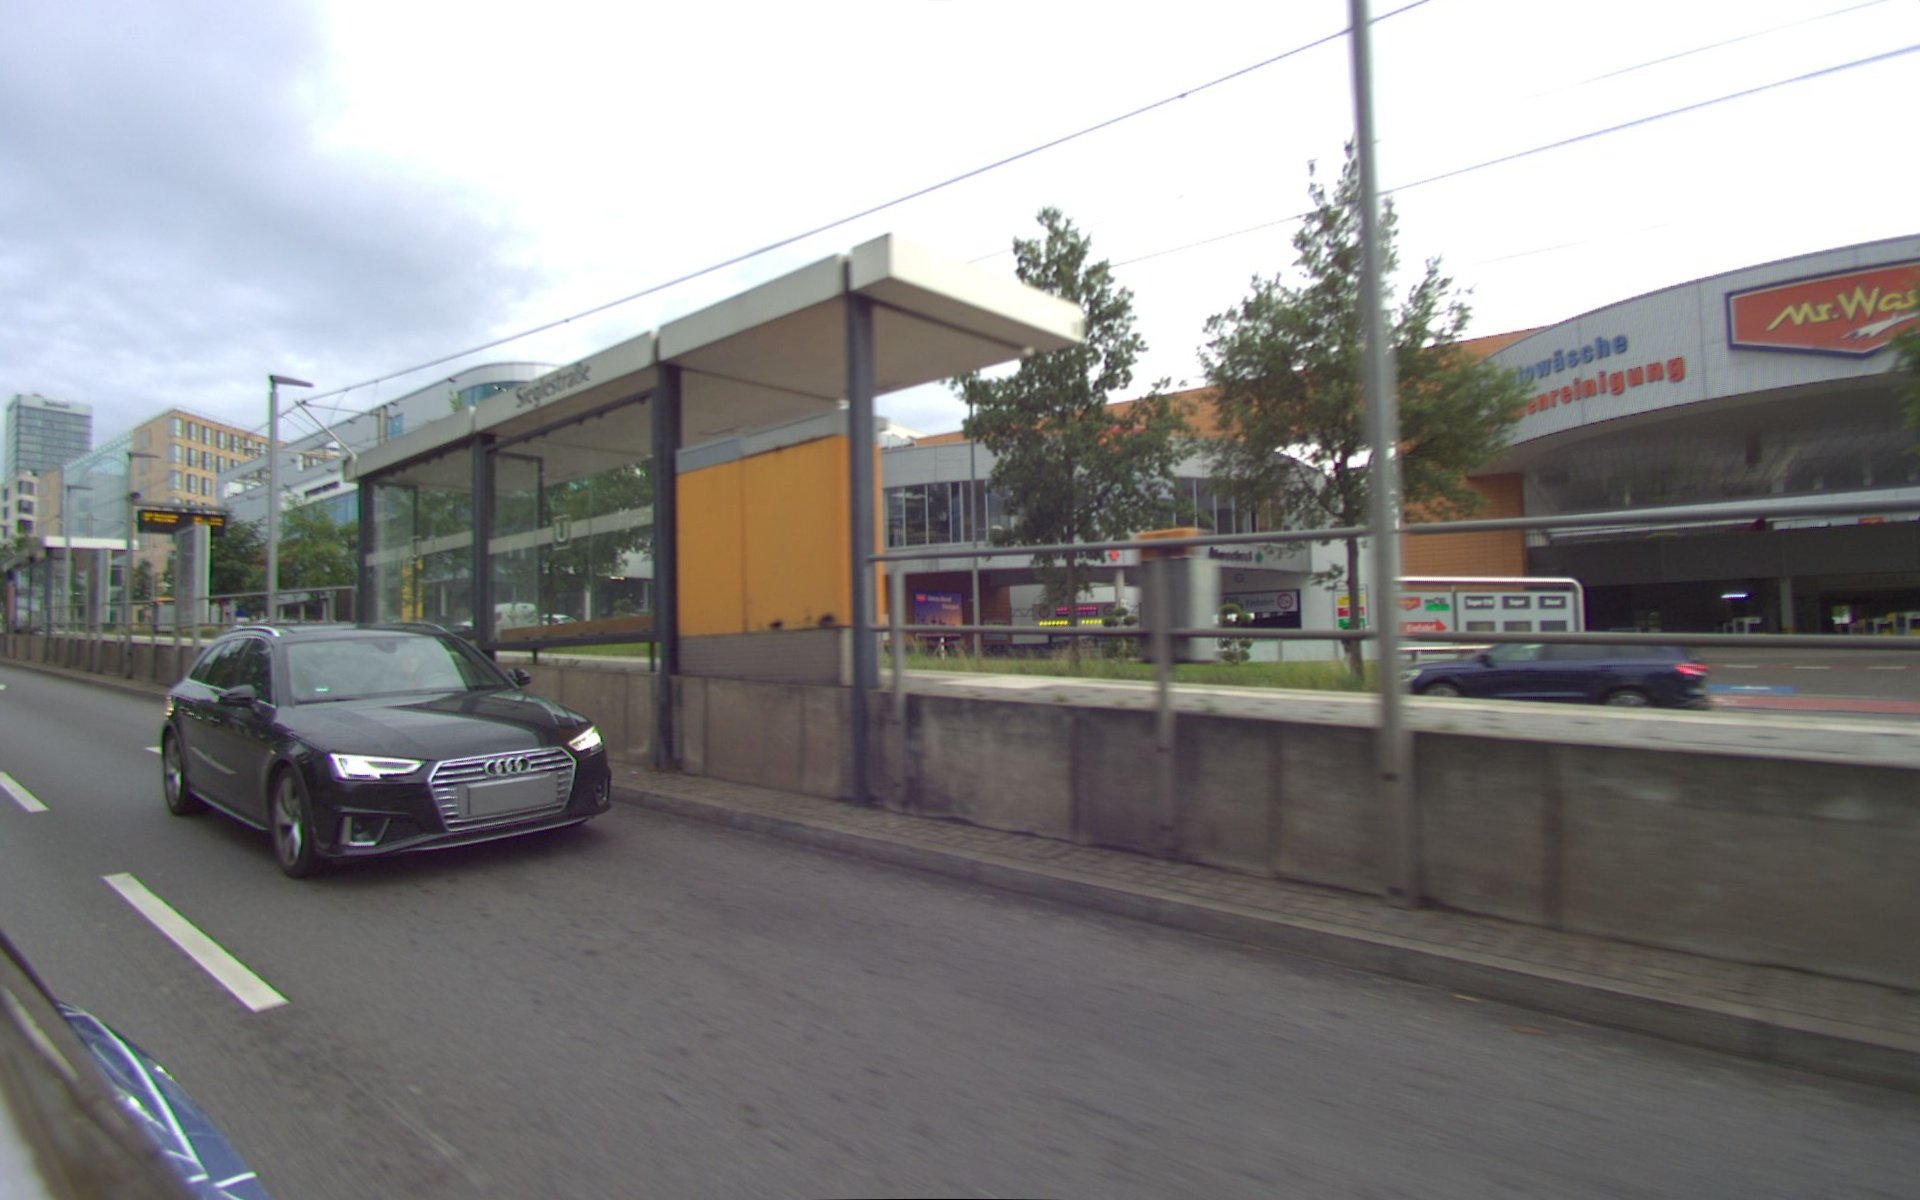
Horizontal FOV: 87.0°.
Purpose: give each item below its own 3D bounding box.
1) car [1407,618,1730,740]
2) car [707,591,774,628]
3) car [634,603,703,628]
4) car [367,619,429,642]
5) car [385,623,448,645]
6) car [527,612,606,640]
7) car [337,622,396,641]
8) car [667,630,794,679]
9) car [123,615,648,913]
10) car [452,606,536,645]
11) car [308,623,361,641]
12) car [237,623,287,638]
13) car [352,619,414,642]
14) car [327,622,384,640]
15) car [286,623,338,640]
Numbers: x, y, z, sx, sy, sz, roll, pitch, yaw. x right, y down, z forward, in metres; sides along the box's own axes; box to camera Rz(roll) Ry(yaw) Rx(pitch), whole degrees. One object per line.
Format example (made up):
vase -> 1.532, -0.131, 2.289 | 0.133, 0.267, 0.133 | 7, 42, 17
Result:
car -> 10.156, 1.222, 17.080 | 4.387, 1.788, 1.972 | -1, -2, 41
car -> -20.005, 0.824, 92.554 | 2.994, 3.296, 5.420 | -1, 0, 35
car -> -24.574, 1.268, 85.405 | 2.274, 1.940, 5.420 | -1, 0, 35
car -> -45.664, 2.486, 82.287 | 1.917, 1.674, 3.954 | -2, 0, 34
car -> -42.324, 2.642, 78.848 | 1.891, 1.519, 3.956 | -1, 0, 33
car -> -30.488, 1.976, 78.545 | 2.274, 1.940, 5.420 | -1, 0, 35
car -> -50.183, 2.644, 85.630 | 1.819, 1.502, 3.954 | -2, -1, 34
car -> -8.315, 1.915, 36.458 | 4.702, 1.529, 1.974 | -1, 0, 39
car -> -4.336, 0.863, 7.218 | 4.826, 1.445, 1.771 | -2, -1, 41
car -> -33.676, 1.822, 73.355 | 2.265, 2.648, 5.441 | -1, 0, 23
car -> -56.621, 2.907, 91.640 | 1.812, 1.502, 3.813 | -1, -1, 22
car -> -71.203, 3.123, 103.302 | 1.812, 1.502, 3.813 | -1, -1, 22
car -> -47.799, 2.512, 83.893 | 1.917, 1.674, 3.954 | -2, 1, 34
car -> -52.496, 2.680, 87.941 | 1.819, 1.502, 3.954 | -2, -1, 34
car -> -60.627, 2.952, 94.727 | 1.812, 1.502, 3.813 | -1, -1, 22
